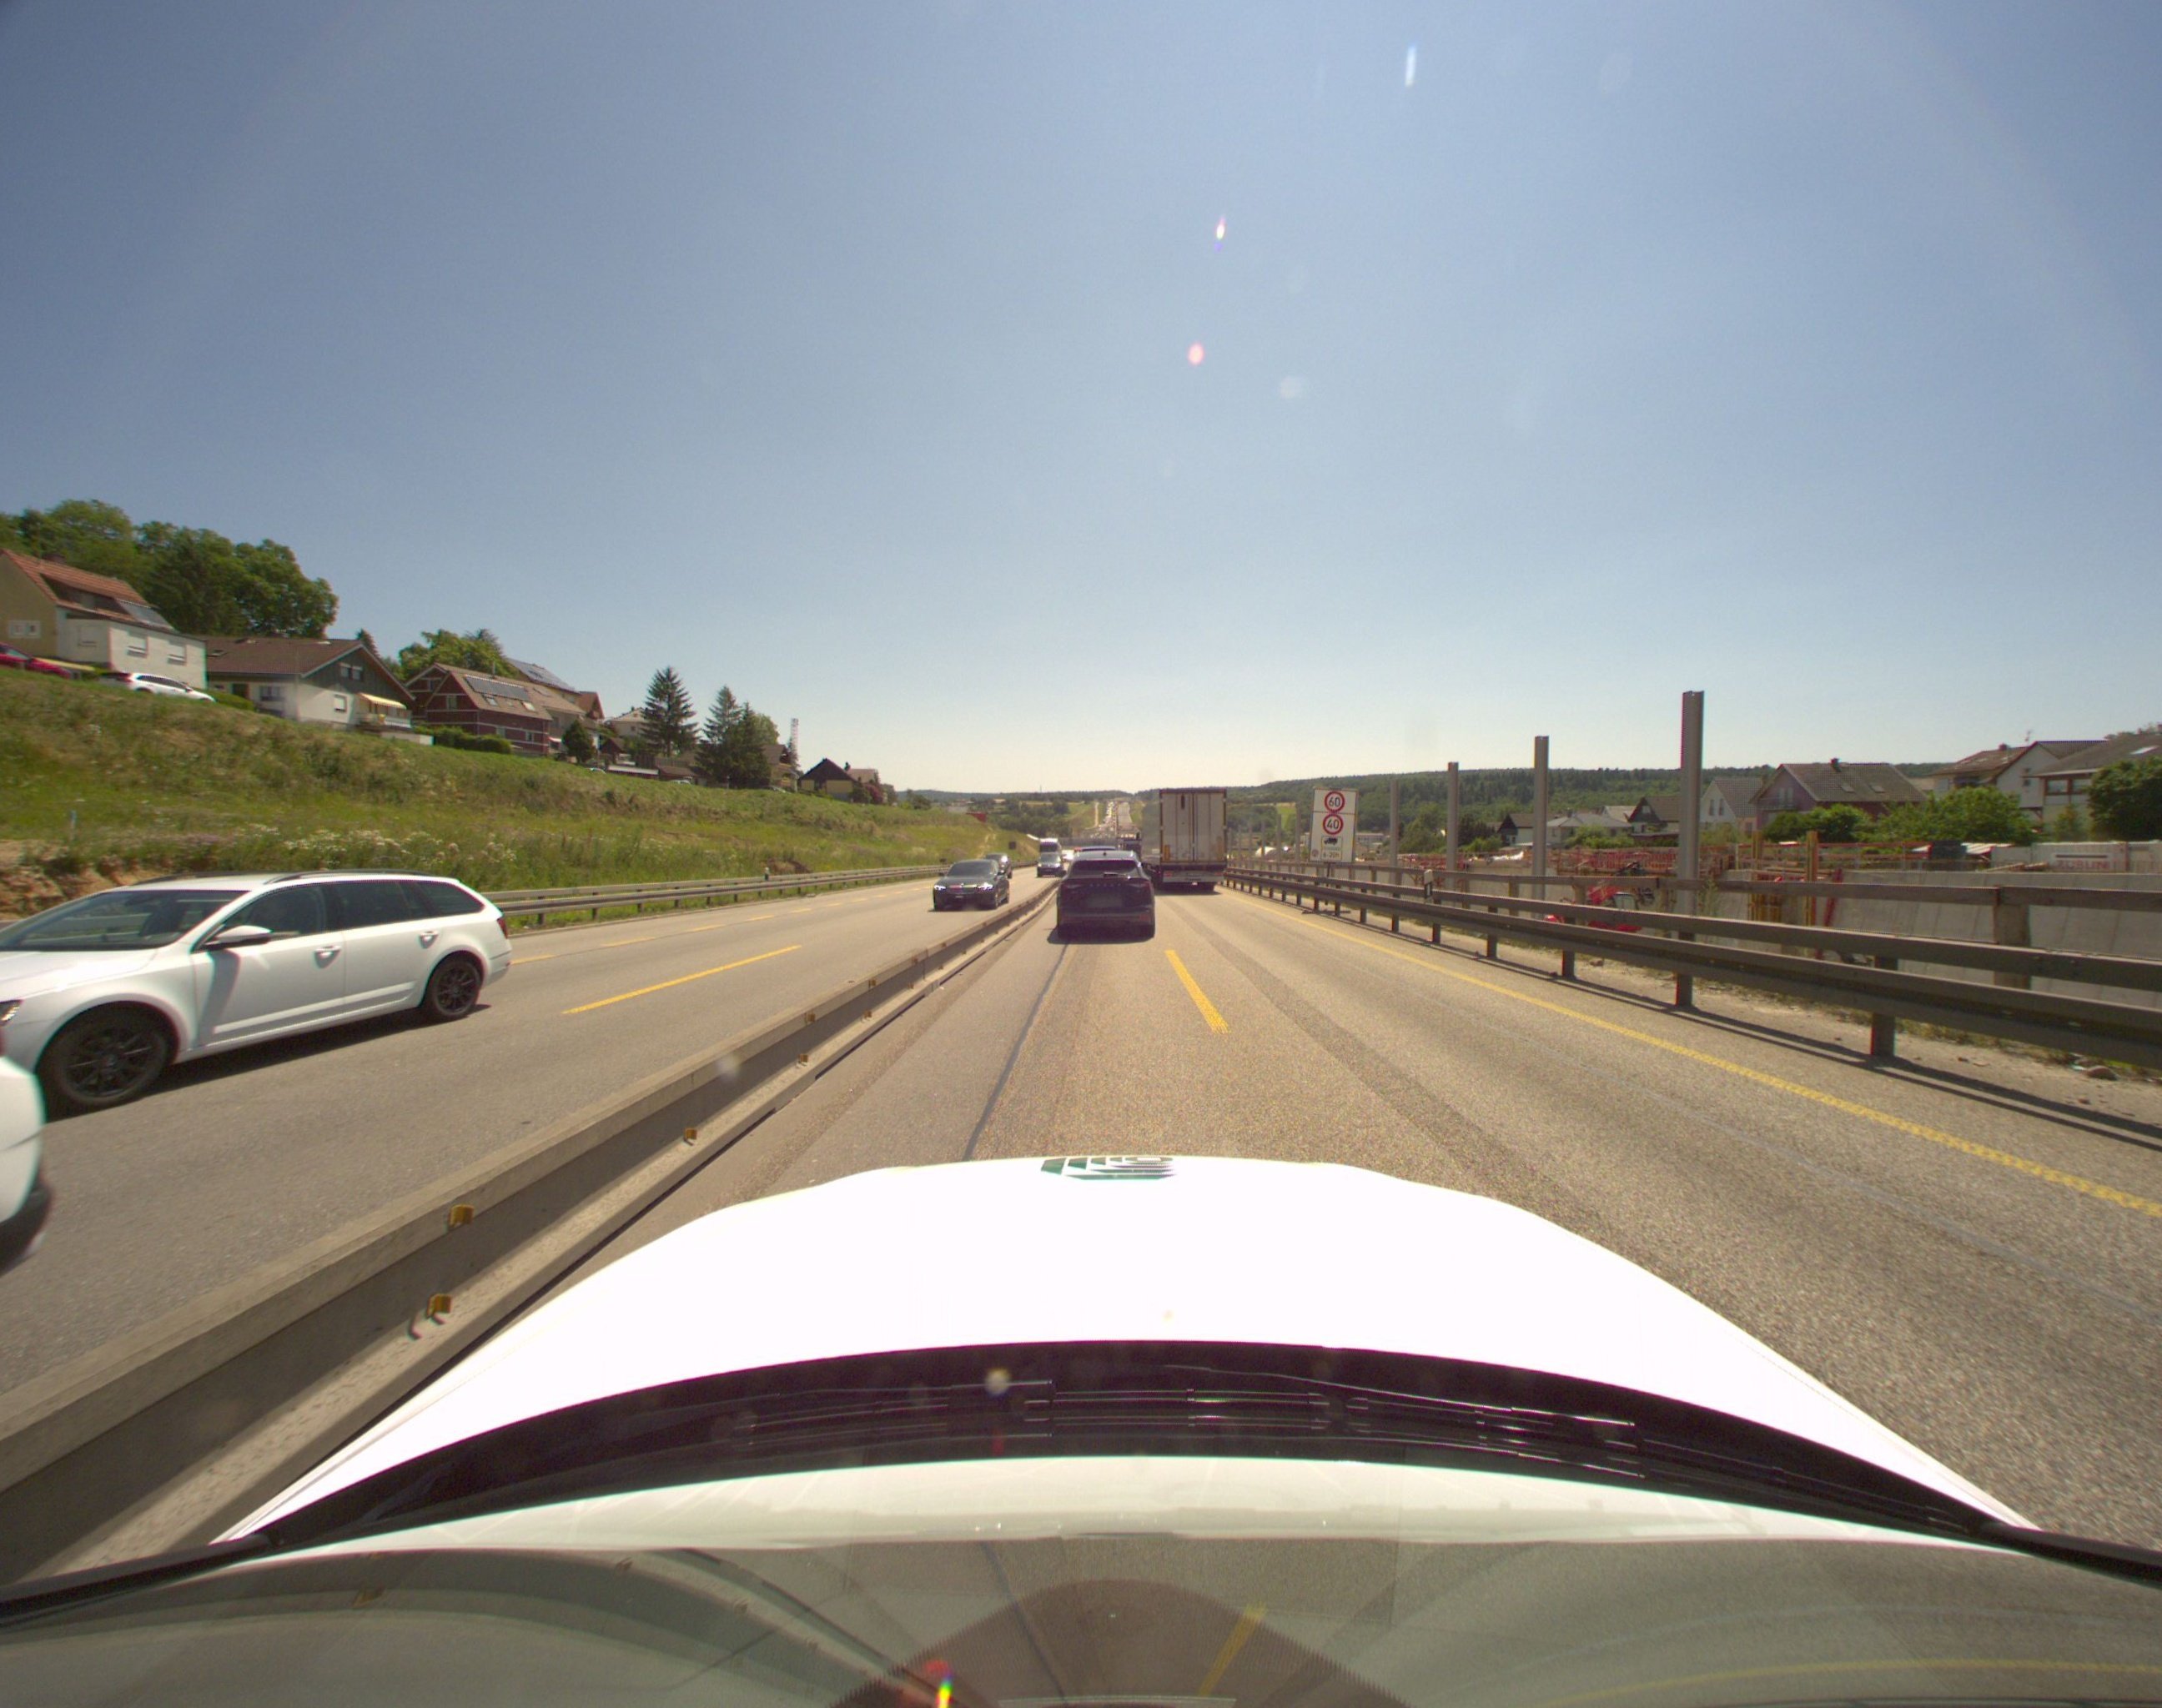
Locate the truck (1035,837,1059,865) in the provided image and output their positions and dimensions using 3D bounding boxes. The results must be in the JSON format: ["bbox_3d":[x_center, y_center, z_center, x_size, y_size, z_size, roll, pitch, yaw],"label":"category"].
[{"bbox_3d":[-4.430,-0.412,108.712,2.769,3.672,6.278,-1,0,1],"label":"truck"}]

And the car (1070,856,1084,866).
[{"bbox_3d":[-0.543,1.065,121.912,1.887,1.414,4.682,-1,0,2],"label":"car"}]

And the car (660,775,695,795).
[{"bbox_3d":[-49.896,-8.525,100.739,1.983,2.014,4.008,-1,-1,7],"label":"car"}]

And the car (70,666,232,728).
[{"bbox_3d":[-45.184,-7.575,39.770,2.341,2.041,4.815,-1,-1,-1],"label":"car"}]

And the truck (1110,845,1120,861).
[{"bbox_3d":[9.743,-0.272,231.792,2.630,4.194,9.287,-1,-1,2],"label":"truck"}]

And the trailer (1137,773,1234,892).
[{"bbox_3d":[4.434,-0.854,37.677,3.168,4.513,13.113,-1,0,2],"label":"trailer"}]

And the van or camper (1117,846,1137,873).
[{"bbox_3d":[5.843,0.748,102.844,2.378,3.281,6.475,-1,-1,4],"label":"van or camper"}]

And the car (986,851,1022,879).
[{"bbox_3d":[-5.076,0.714,54.220,1.821,1.766,4.498,-1,0,2],"label":"car"}]

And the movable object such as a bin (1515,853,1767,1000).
[{"bbox_3d":[20.839,2.470,31.407,3.215,4.743,9.657,-1,-1,1],"label":"movable object such as a bin"}]

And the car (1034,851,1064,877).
[{"bbox_3d":[-2.297,0.686,58.974,1.839,1.777,4.883,-1,0,1],"label":"car"}]

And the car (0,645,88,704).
[{"bbox_3d":[-44.939,-7.553,33.476,2.341,1.794,4.798,-1,-1,-2],"label":"car"}]

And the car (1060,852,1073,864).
[{"bbox_3d":[-2.577,0.700,147.003,1.986,1.971,5.345,-1,0,2],"label":"car"}]

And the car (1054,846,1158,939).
[{"bbox_3d":[0.524,0.705,16.248,1.795,1.607,4.002,-1,-1,2],"label":"car"}]

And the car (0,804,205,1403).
[{"bbox_3d":[-3.897,0.693,0.662,1.800,1.640,4.172,-1,0,1],"label":"car"}]

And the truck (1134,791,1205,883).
[{"bbox_3d":[4.630,-0.845,44.143,3.168,4.513,8.169,-1,0,2],"label":"truck"}]

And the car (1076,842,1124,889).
[{"bbox_3d":[0.838,0.526,36.086,1.986,1.926,4.508,-1,-1,1],"label":"car"}]

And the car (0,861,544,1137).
[{"bbox_3d":[-6.883,0.845,6.710,1.798,1.497,4.600,-1,0,1],"label":"car"}]

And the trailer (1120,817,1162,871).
[{"bbox_3d":[5.413,-0.715,76.218,3.168,4.513,14.970,-1,-1,2],"label":"trailer"}]

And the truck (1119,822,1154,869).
[{"bbox_3d":[5.612,-0.785,83.267,3.168,4.513,8.167,-1,-1,2],"label":"truck"}]

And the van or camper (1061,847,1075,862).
[{"bbox_3d":[-2.450,0.135,153.618,2.348,2.676,7.860,-1,0,2],"label":"van or camper"}]

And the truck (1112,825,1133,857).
[{"bbox_3d":[6.468,-1.951,128.376,2.842,4.465,11.918,-1,-1,1],"label":"truck"}]

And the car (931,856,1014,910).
[{"bbox_3d":[-3.205,0.820,24.838,1.791,1.466,4.357,-2,0,2],"label":"car"}]
